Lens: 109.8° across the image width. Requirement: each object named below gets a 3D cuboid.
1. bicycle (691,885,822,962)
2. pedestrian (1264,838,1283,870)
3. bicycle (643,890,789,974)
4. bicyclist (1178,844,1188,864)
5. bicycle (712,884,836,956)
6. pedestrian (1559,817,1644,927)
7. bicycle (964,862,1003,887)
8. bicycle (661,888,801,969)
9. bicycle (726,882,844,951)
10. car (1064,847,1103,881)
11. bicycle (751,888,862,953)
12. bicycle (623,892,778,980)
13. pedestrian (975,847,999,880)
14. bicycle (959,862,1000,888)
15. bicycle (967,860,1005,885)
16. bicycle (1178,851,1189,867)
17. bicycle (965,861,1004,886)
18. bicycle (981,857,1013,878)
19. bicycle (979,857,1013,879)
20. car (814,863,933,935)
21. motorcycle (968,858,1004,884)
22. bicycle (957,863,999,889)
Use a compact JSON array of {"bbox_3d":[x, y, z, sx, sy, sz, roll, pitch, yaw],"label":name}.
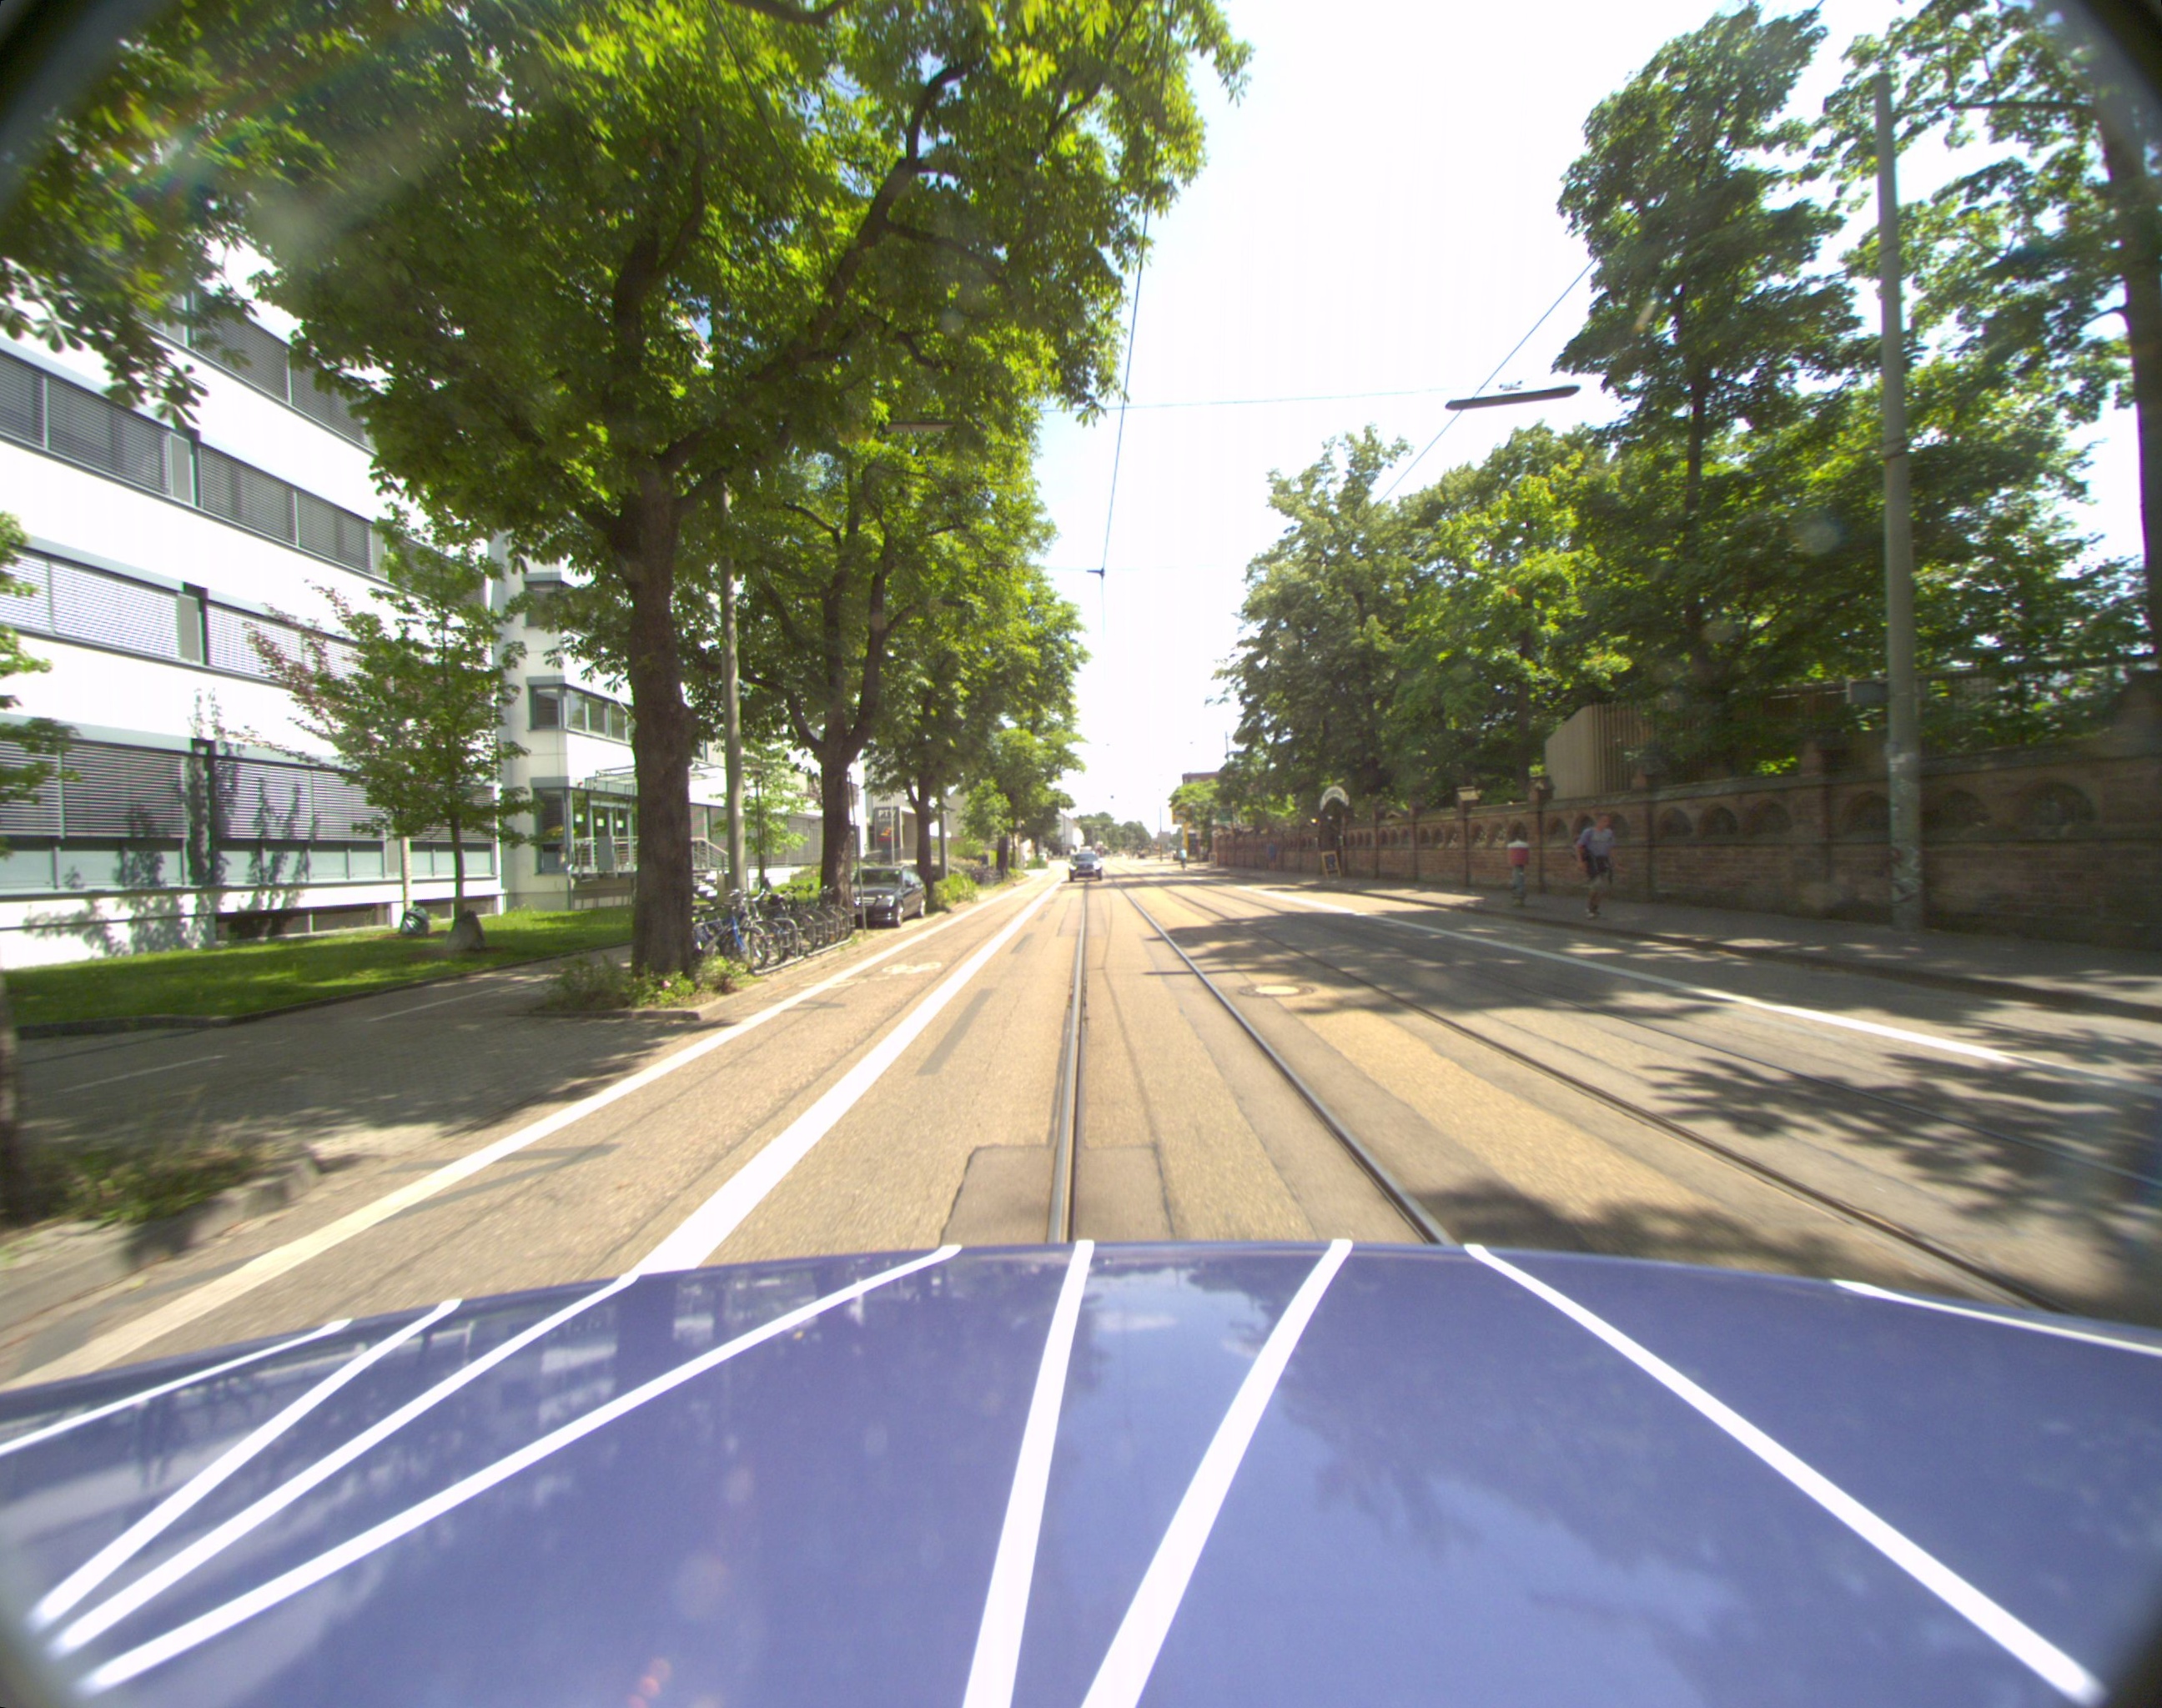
[{"bbox_3d":[-5.071,1.073,11.955,1.814,1.105,0.489,-1,1,-13],"label":"bicycle"},{"bbox_3d":[10.801,0.011,42.646,0.750,1.738,0.919,-4,1,1],"label":"pedestrian"},{"bbox_3d":[-5.112,1.087,10.682,1.812,1.105,0.395,-1,1,-2],"label":"bicycle"},{"bbox_3d":[8.043,-0.002,59.689,0.665,1.616,0.919,0,1,1],"label":"bicyclist"},{"bbox_3d":[-5.066,1.076,12.612,1.813,1.105,0.533,-1,1,-8],"label":"bicycle"},{"bbox_3d":[8.995,0.303,13.172,0.723,1.781,0.919,-5,1,1],"label":"pedestrian"},{"bbox_3d":[-4.720,0.988,36.870,1.812,1.105,0.569,-3,1,-3],"label":"bicycle"},{"bbox_3d":[-5.080,1.076,11.082,1.812,1.105,0.395,-1,1,-2],"label":"bicycle"},{"bbox_3d":[-5.130,1.069,13.232,1.813,1.105,0.535,-1,1,-8],"label":"bicycle"},{"bbox_3d":[0.161,0.514,42.292,1.998,1.732,4.226,-3,1,1],"label":"car"},{"bbox_3d":[-4.988,1.199,13.886,1.813,1.105,0.514,-1,1,-3],"label":"bicycle"},{"bbox_3d":[-5.106,1.090,10.252,1.812,1.105,0.449,-1,1,-2],"label":"bicycle"},{"bbox_3d":[-5.305,0.555,43.007,0.986,1.822,0.786,-3,1,-42],"label":"pedestrian"},{"bbox_3d":[-4.830,1.014,36.233,1.812,1.105,0.569,-3,1,-3],"label":"bicycle"},{"bbox_3d":[-4.819,0.940,38.618,1.812,1.105,0.569,-3,1,-3],"label":"bicycle"},{"bbox_3d":[8.035,0.386,59.482,0.661,1.156,1.895,0,1,1],"label":"bicycle"},{"bbox_3d":[-4.732,0.968,37.450,1.812,1.105,0.569,-3,1,-3],"label":"bicycle"},{"bbox_3d":[-4.830,0.765,43.706,1.819,1.158,0.710,-2,1,-7],"label":"bicycle"},{"bbox_3d":[-4.753,0.774,42.399,1.819,1.158,0.710,-2,1,-7],"label":"bicycle"},{"bbox_3d":[-5.033,1.020,19.067,1.680,1.458,4.634,-1,1,0],"label":"car"},{"bbox_3d":[-5.026,0.901,40.266,1.819,1.269,0.720,-2,1,-7],"label":"motorcycle"},{"bbox_3d":[-4.795,1.025,35.558,1.846,1.105,0.569,-3,1,-3],"label":"bicycle"}]
